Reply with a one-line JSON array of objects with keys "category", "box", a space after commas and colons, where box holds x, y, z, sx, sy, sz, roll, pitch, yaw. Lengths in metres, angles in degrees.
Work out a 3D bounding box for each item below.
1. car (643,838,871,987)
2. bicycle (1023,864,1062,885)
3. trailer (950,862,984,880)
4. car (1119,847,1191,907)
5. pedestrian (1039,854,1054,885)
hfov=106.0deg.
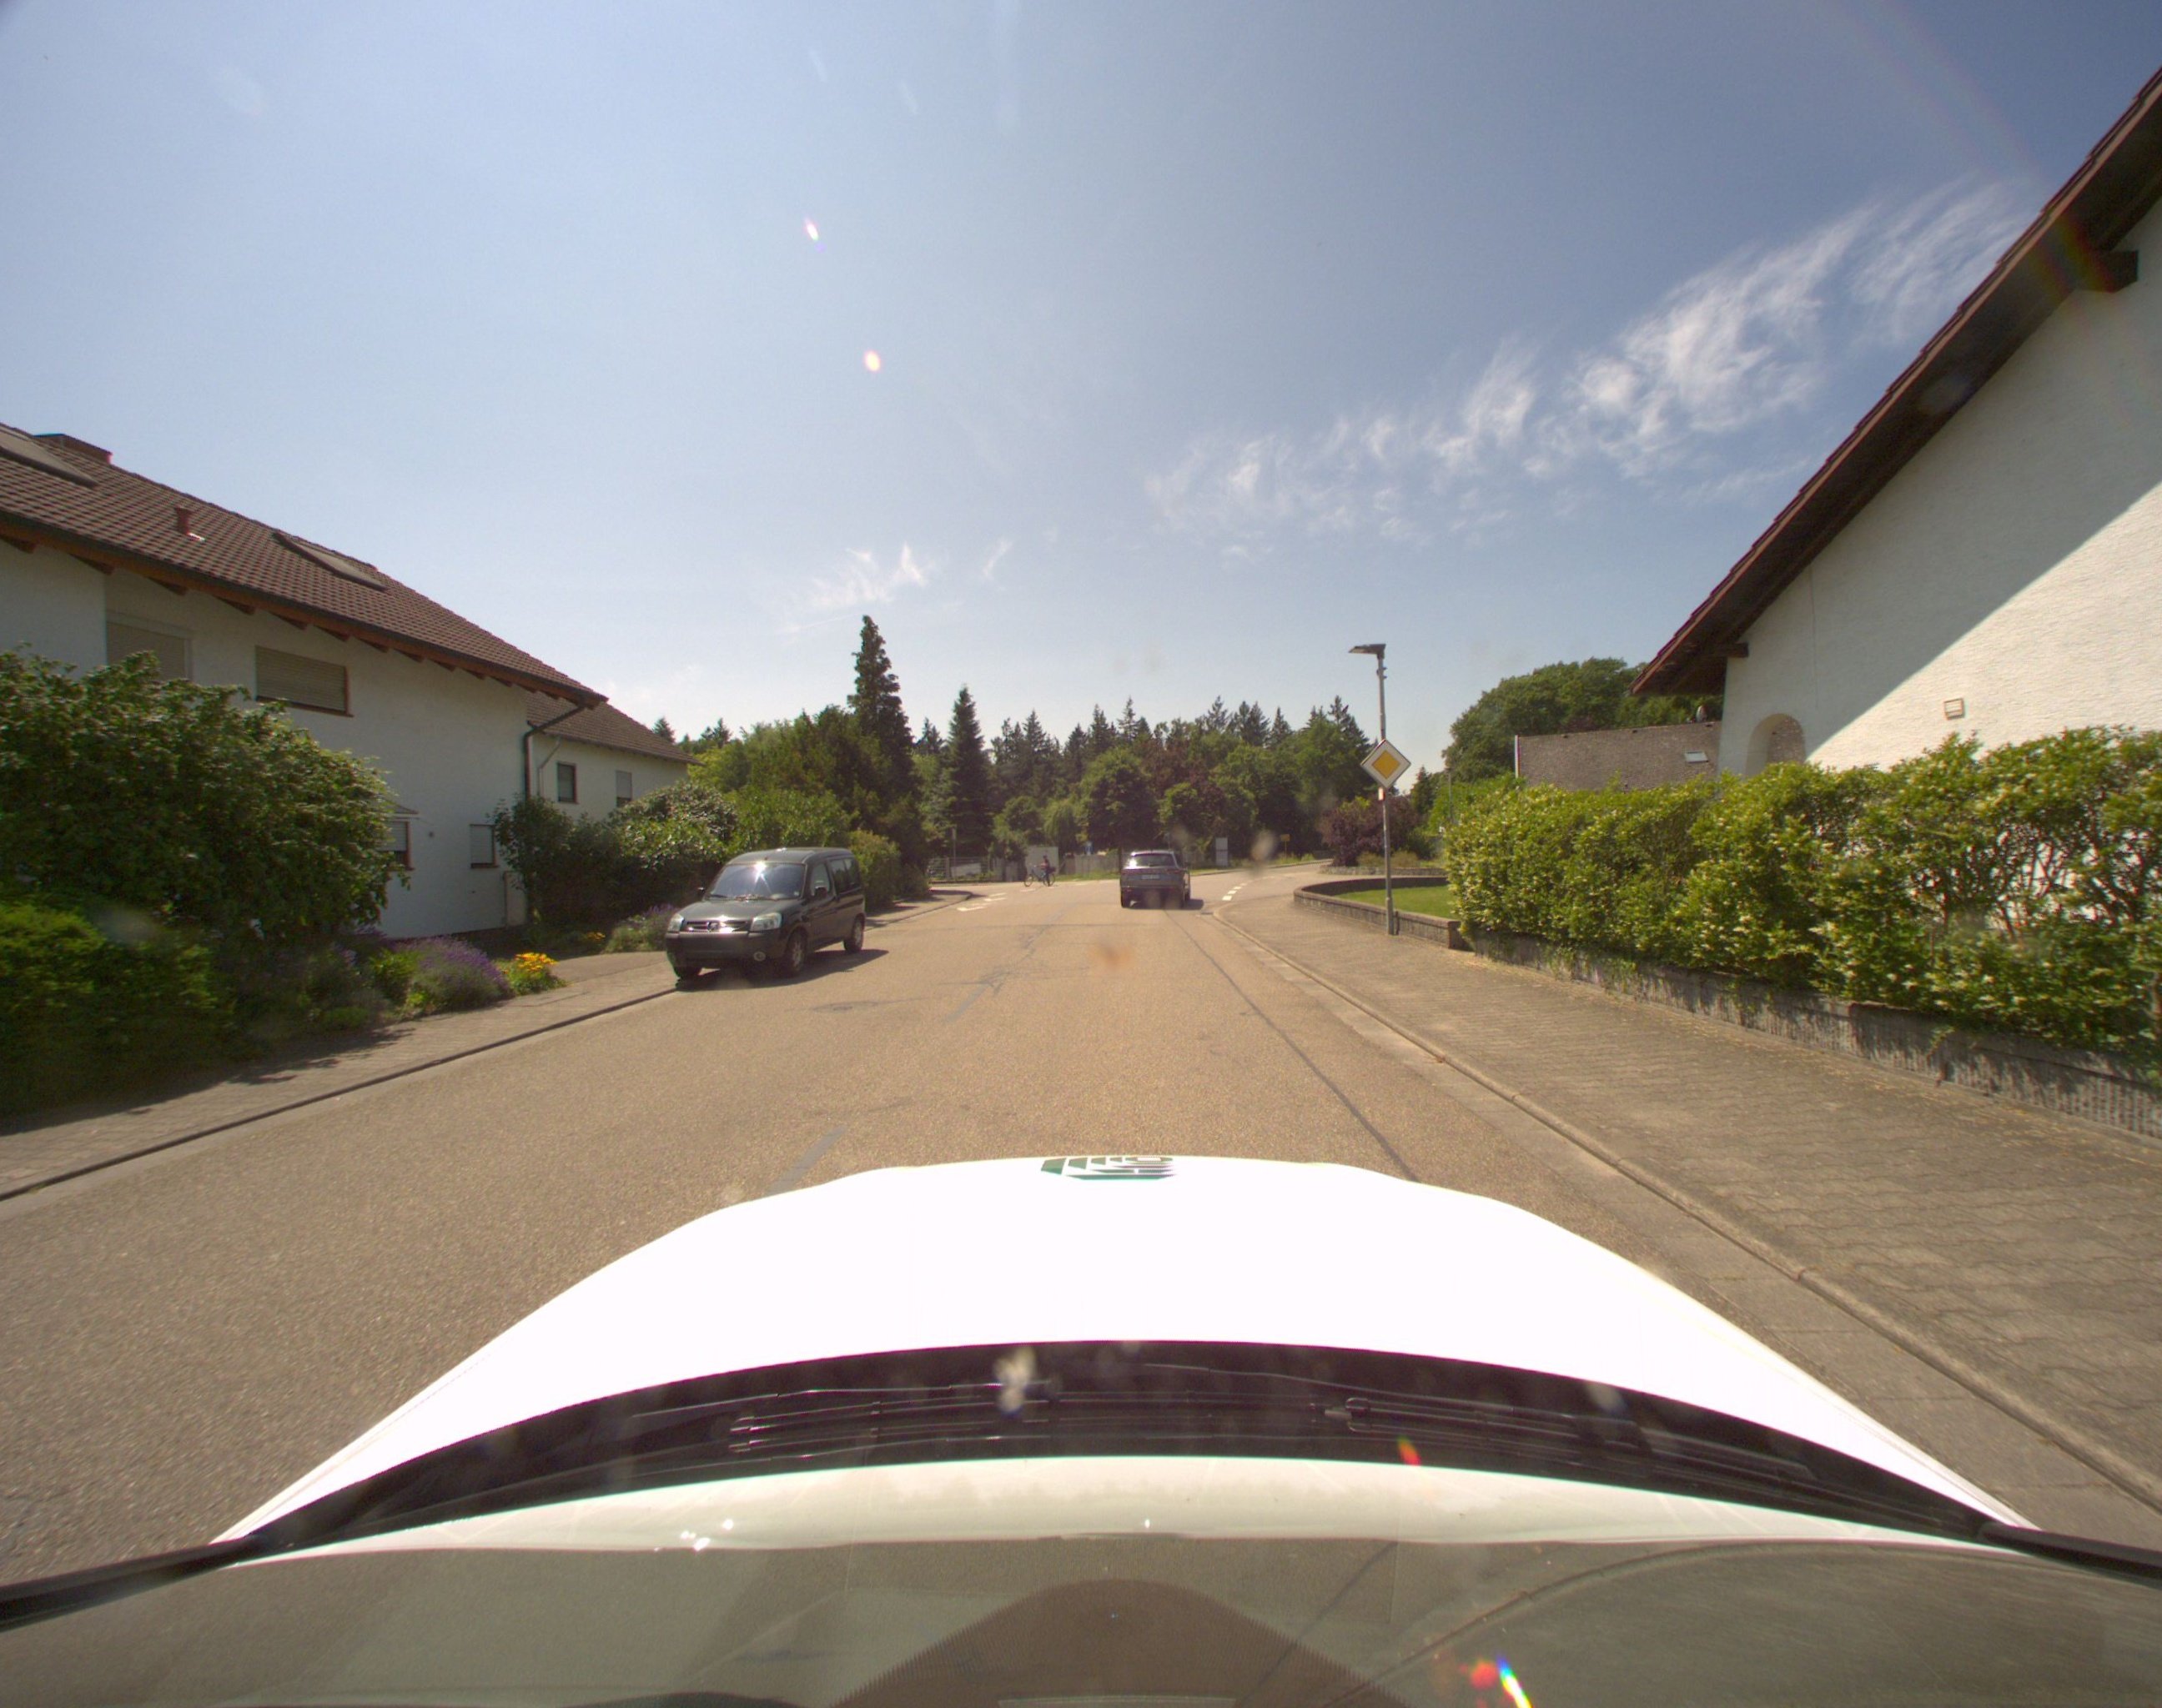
[{"category": "car", "box": [-4.664, 0.751, 12.432, 1.712, 1.846, 4.055, -2, 0, 1]}, {"category": "bicycle", "box": [-1.913, 1.004, 40.286, 1.846, 0.964, 0.441, -2, 0, -16]}, {"category": "trailer", "box": [-7.722, 1.150, 55.245, 2.212, 1.084, 1.104, -2, 0, -6]}, {"category": "car", "box": [2.252, 0.621, 23.953, 1.751, 1.618, 4.011, 0, 0, 10]}, {"category": "pedestrian", "box": [-1.699, 0.758, 39.930, 0.611, 1.501, 0.501, -2, 0, -17]}]
